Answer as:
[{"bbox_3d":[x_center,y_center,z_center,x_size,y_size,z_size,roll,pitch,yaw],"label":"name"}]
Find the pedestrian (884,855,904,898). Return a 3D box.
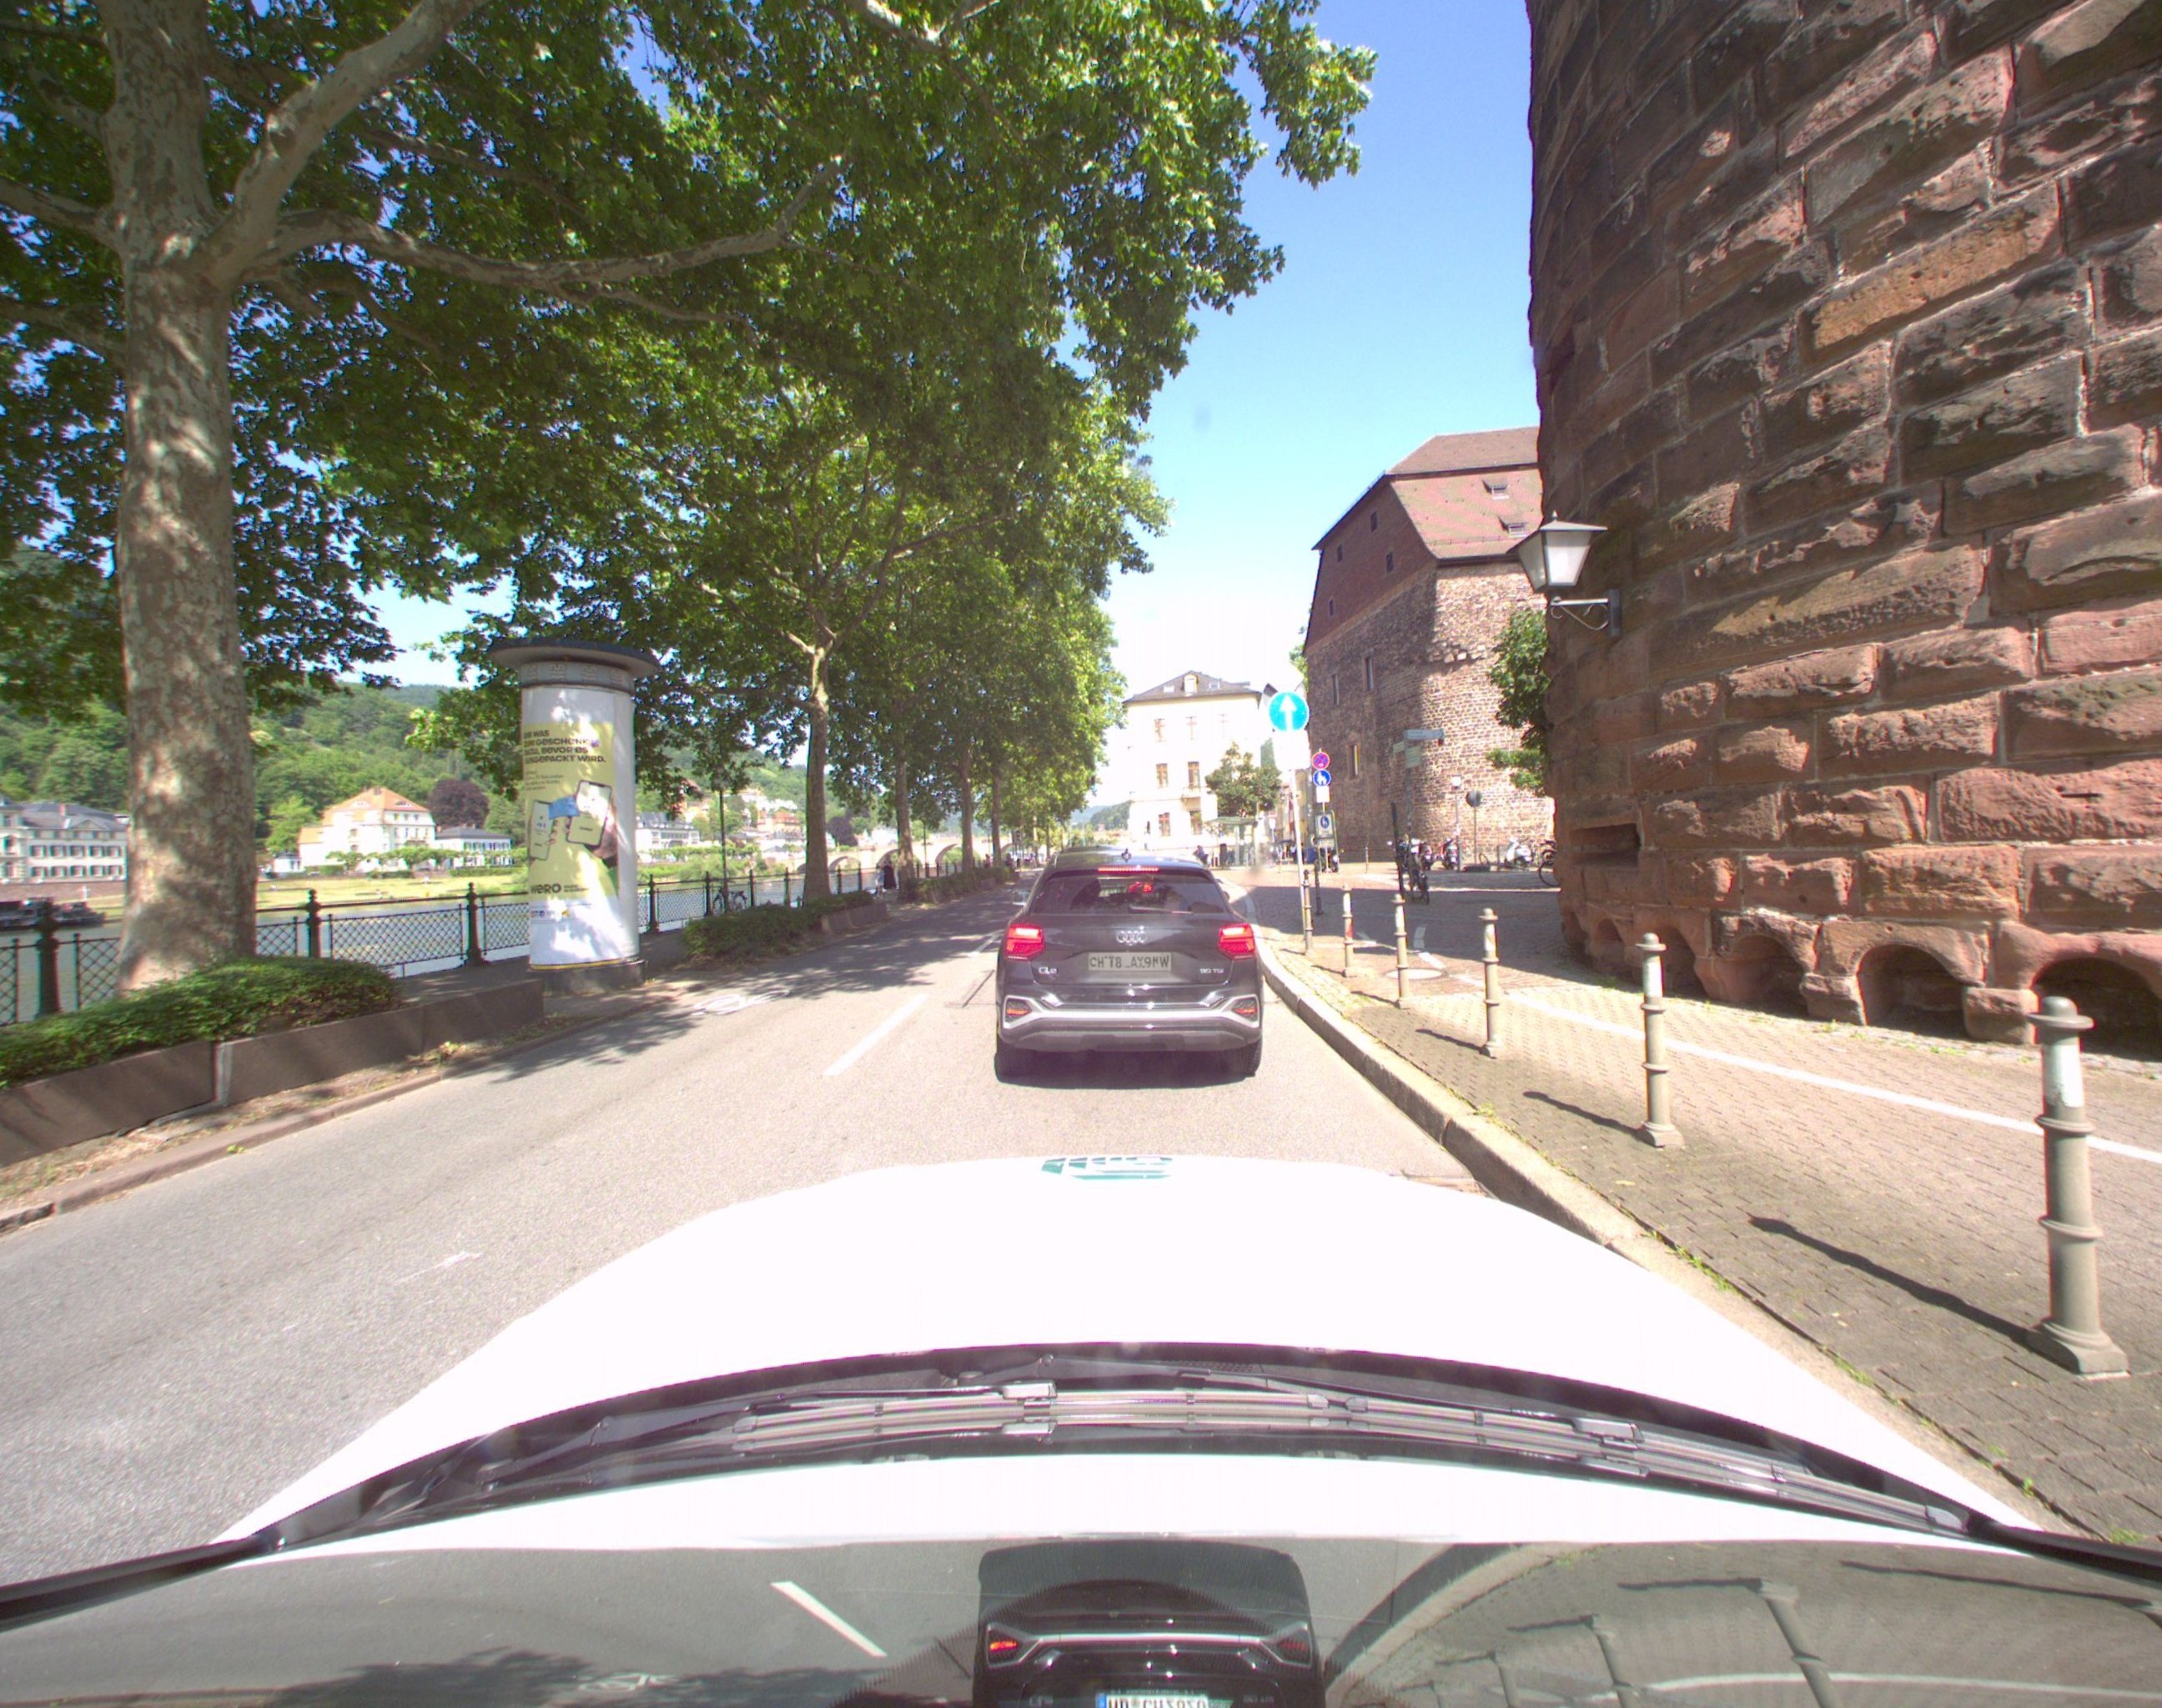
[{"bbox_3d":[-7.524,0.908,32.813,0.599,1.685,0.583,-3,0,0],"label":"pedestrian"}]

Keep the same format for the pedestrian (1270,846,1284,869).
[{"bbox_3d":[12.927,0.225,53.661,0.637,1.444,0.797,-4,0,-5],"label":"pedestrian"}]

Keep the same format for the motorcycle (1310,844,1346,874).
[{"bbox_3d":[9.060,0.171,29.983,0.564,1.012,2.490,-2,0,1],"label":"motorcycle"}]

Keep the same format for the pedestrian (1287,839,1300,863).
[{"bbox_3d":[15.064,-0.222,57.714,0.605,1.619,0.711,-4,-1,1],"label":"pedestrian"}]

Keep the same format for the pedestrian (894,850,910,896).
[{"bbox_3d":[-7.348,0.770,33.404,0.532,1.887,0.437,-1,0,1],"label":"pedestrian"}]

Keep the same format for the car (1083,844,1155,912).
[{"bbox_3d":[0.980,0.583,21.658,1.704,1.609,3.656,-1,0,2],"label":"car"}]

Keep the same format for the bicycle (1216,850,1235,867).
[{"bbox_3d":[8.821,0.258,49.560,1.187,1.016,0.178,0,-1,-17],"label":"bicycle"}]

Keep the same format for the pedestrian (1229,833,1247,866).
[{"bbox_3d":[8.088,-0.246,41.980,0.652,1.662,0.809,-3,0,-3],"label":"pedestrian"}]

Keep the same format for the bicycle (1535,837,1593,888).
[{"bbox_3d":[11.530,0.178,19.487,0.444,1.162,1.733,-2,0,5],"label":"bicycle"}]

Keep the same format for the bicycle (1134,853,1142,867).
[{"bbox_3d":[4.356,0.454,62.447,0.436,1.086,1.675,0,-1,-2],"label":"bicycle"}]

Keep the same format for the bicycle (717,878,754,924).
[{"bbox_3d":[-8.885,1.193,20.966,0.358,1.091,1.296,1,0,1],"label":"bicycle"}]

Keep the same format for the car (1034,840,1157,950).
[{"bbox_3d":[0.261,0.588,13.582,1.786,1.595,3.400,0,0,2],"label":"car"}]

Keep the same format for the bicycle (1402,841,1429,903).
[{"bbox_3d":[6.859,0.332,16.751,0.192,1.203,1.775,-2,1,13],"label":"bicycle"}]

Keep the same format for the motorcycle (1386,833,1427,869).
[{"bbox_3d":[11.933,-0.087,29.921,0.653,1.266,2.201,-2,-1,2],"label":"motorcycle"}]

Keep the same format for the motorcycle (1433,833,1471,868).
[{"bbox_3d":[13.726,-0.113,30.200,0.544,1.235,2.031,0,-1,2],"label":"motorcycle"}]

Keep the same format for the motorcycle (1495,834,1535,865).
[{"bbox_3d":[15.469,-0.144,29.075,0.505,1.073,1.841,0,-1,2],"label":"motorcycle"}]

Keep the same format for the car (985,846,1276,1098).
[{"bbox_3d":[0.354,0.696,6.718,1.736,1.509,3.649,0,0,2],"label":"car"}]

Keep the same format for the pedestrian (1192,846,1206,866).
[{"bbox_3d":[6.961,0.114,48.100,0.662,1.211,0.640,0,-1,-5],"label":"pedestrian"}]

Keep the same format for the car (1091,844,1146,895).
[{"bbox_3d":[1.303,0.504,28.785,1.788,1.682,4.002,-1,0,2],"label":"car"}]

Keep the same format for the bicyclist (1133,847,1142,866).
[{"bbox_3d":[4.357,0.164,62.505,0.604,1.450,0.590,0,-1,-3],"label":"bicyclist"}]

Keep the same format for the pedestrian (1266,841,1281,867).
[{"bbox_3d":[15.223,-0.002,64.379,0.938,2.014,0.807,0,-1,-2],"label":"pedestrian"}]

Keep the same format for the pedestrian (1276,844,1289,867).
[{"bbox_3d":[18.247,0.151,73.699,0.941,2.014,0.808,0,-1,2],"label":"pedestrian"}]

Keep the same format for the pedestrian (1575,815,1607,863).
[{"bbox_3d":[21.770,-0.616,34.794,0.872,2.014,0.732,0,-1,0],"label":"pedestrian"}]

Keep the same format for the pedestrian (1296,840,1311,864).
[{"bbox_3d":[15.683,-0.142,57.412,0.688,1.612,0.892,-4,0,1],"label":"pedestrian"}]

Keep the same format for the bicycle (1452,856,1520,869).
[{"bbox_3d":[13.592,0.282,27.364,1.914,0.381,0.921,-2,-1,16],"label":"bicycle"}]

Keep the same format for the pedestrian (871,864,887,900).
[{"bbox_3d":[-7.626,1.054,30.772,0.476,1.362,0.418,0,0,5],"label":"pedestrian"}]

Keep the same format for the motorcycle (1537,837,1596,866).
[{"bbox_3d":[18.374,-0.090,30.861,1.854,1.054,0.481,-1,-1,9],"label":"motorcycle"}]

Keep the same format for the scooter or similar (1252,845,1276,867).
[{"bbox_3d":[8.867,0.101,39.373,1.085,1.066,0.323,0,-1,-1],"label":"scooter or similar"}]

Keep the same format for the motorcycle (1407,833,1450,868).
[{"bbox_3d":[12.842,-0.126,30.193,0.672,1.235,2.313,0,-1,2],"label":"motorcycle"}]

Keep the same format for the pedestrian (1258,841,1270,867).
[{"bbox_3d":[9.563,0.008,42.584,0.555,1.385,0.588,-1,-1,4],"label":"pedestrian"}]

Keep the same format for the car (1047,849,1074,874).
[{"bbox_3d":[-1.512,0.552,61.930,1.667,1.660,4.224,-5,0,1],"label":"car"}]

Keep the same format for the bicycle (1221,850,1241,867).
[{"bbox_3d":[9.027,0.257,48.920,1.205,1.035,0.178,0,-1,-17],"label":"bicycle"}]

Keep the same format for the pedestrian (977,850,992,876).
[{"bbox_3d":[-6.580,0.619,55.711,0.906,1.811,0.587,-1,-1,6],"label":"pedestrian"}]

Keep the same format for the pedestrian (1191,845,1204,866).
[{"bbox_3d":[6.996,0.095,48.838,0.662,1.231,0.640,0,-1,-5],"label":"pedestrian"}]

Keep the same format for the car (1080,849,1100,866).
[{"bbox_3d":[1.040,0.400,90.623,1.985,1.806,4.003,-1,-1,3],"label":"car"}]

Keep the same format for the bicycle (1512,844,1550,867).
[{"bbox_3d":[16.632,0.054,30.147,0.352,0.820,1.926,0,1,1],"label":"bicycle"}]
